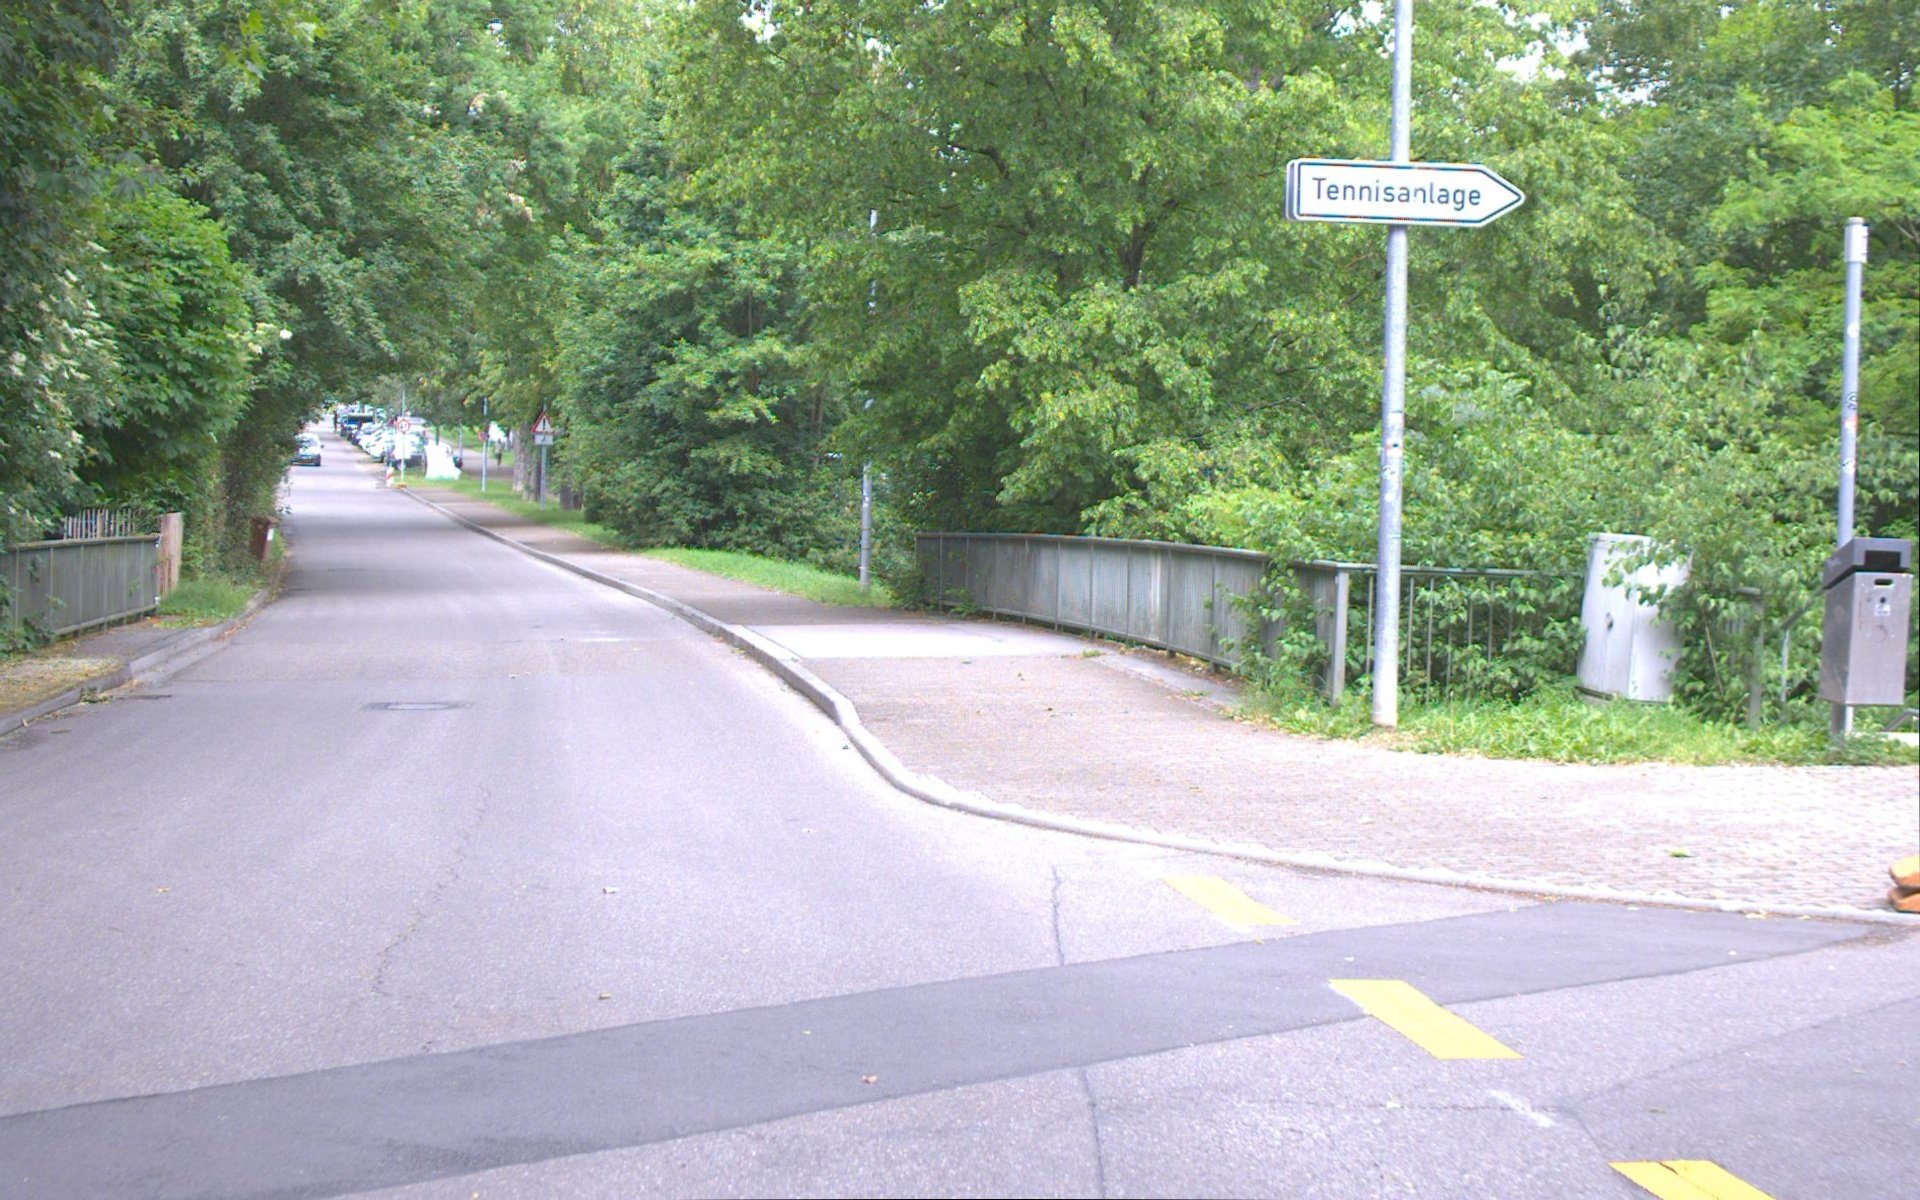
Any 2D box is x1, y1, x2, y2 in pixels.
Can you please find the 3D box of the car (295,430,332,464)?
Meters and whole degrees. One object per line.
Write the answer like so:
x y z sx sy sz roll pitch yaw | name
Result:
-36.845 -8.708 196.085 1.993 1.766 4.001 1 1 -10 | car

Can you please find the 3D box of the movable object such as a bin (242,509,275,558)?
-13.722 -1.299 67.248 0.590 0.954 0.470 1 1 -10 | movable object such as a bin
